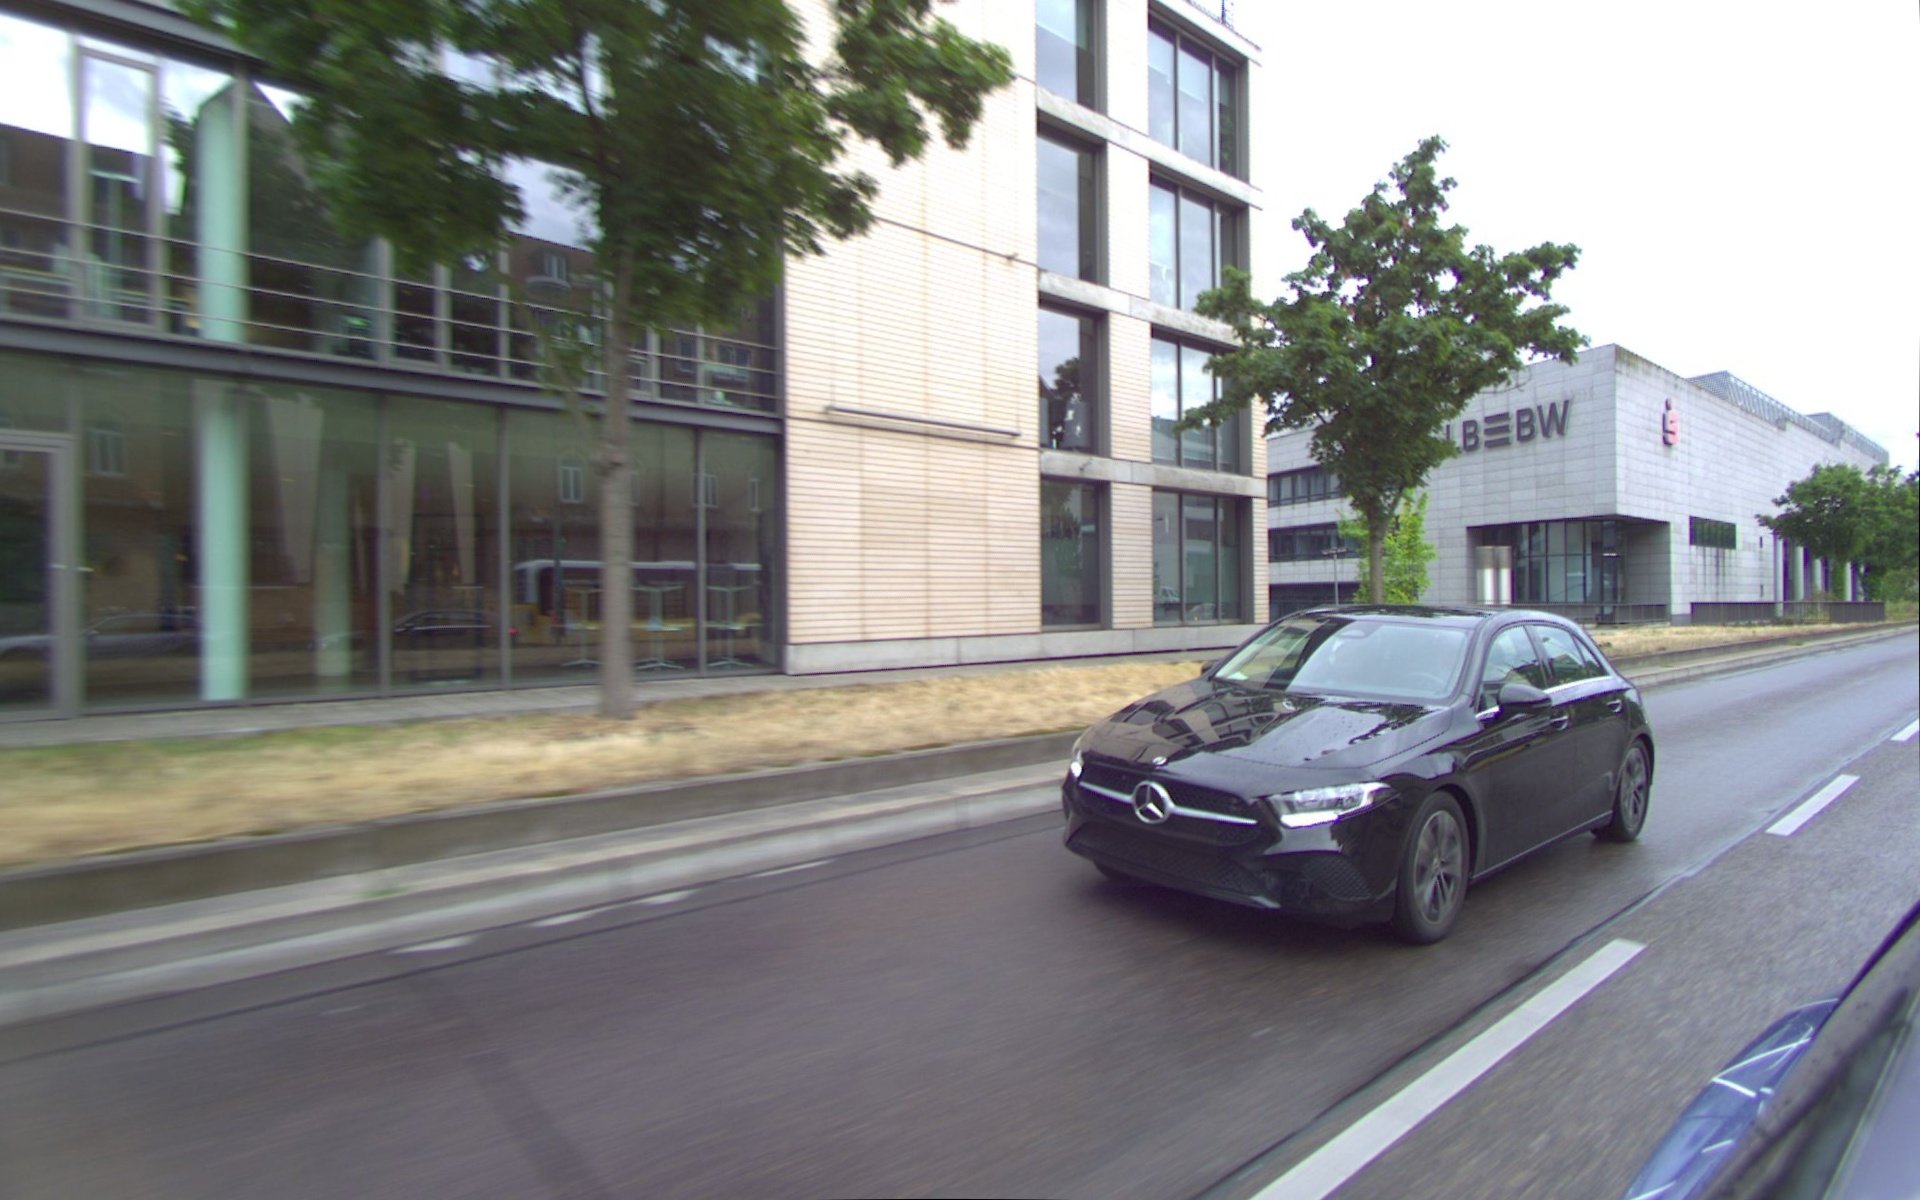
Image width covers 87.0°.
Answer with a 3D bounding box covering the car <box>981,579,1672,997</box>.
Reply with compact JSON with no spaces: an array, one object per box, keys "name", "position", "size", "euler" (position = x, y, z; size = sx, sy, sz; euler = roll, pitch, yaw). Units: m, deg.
[{"name":"car","position":[2.264,0.634,5.618],"size":[4.132,1.454,1.875],"euler":[0,1,-42]}]
